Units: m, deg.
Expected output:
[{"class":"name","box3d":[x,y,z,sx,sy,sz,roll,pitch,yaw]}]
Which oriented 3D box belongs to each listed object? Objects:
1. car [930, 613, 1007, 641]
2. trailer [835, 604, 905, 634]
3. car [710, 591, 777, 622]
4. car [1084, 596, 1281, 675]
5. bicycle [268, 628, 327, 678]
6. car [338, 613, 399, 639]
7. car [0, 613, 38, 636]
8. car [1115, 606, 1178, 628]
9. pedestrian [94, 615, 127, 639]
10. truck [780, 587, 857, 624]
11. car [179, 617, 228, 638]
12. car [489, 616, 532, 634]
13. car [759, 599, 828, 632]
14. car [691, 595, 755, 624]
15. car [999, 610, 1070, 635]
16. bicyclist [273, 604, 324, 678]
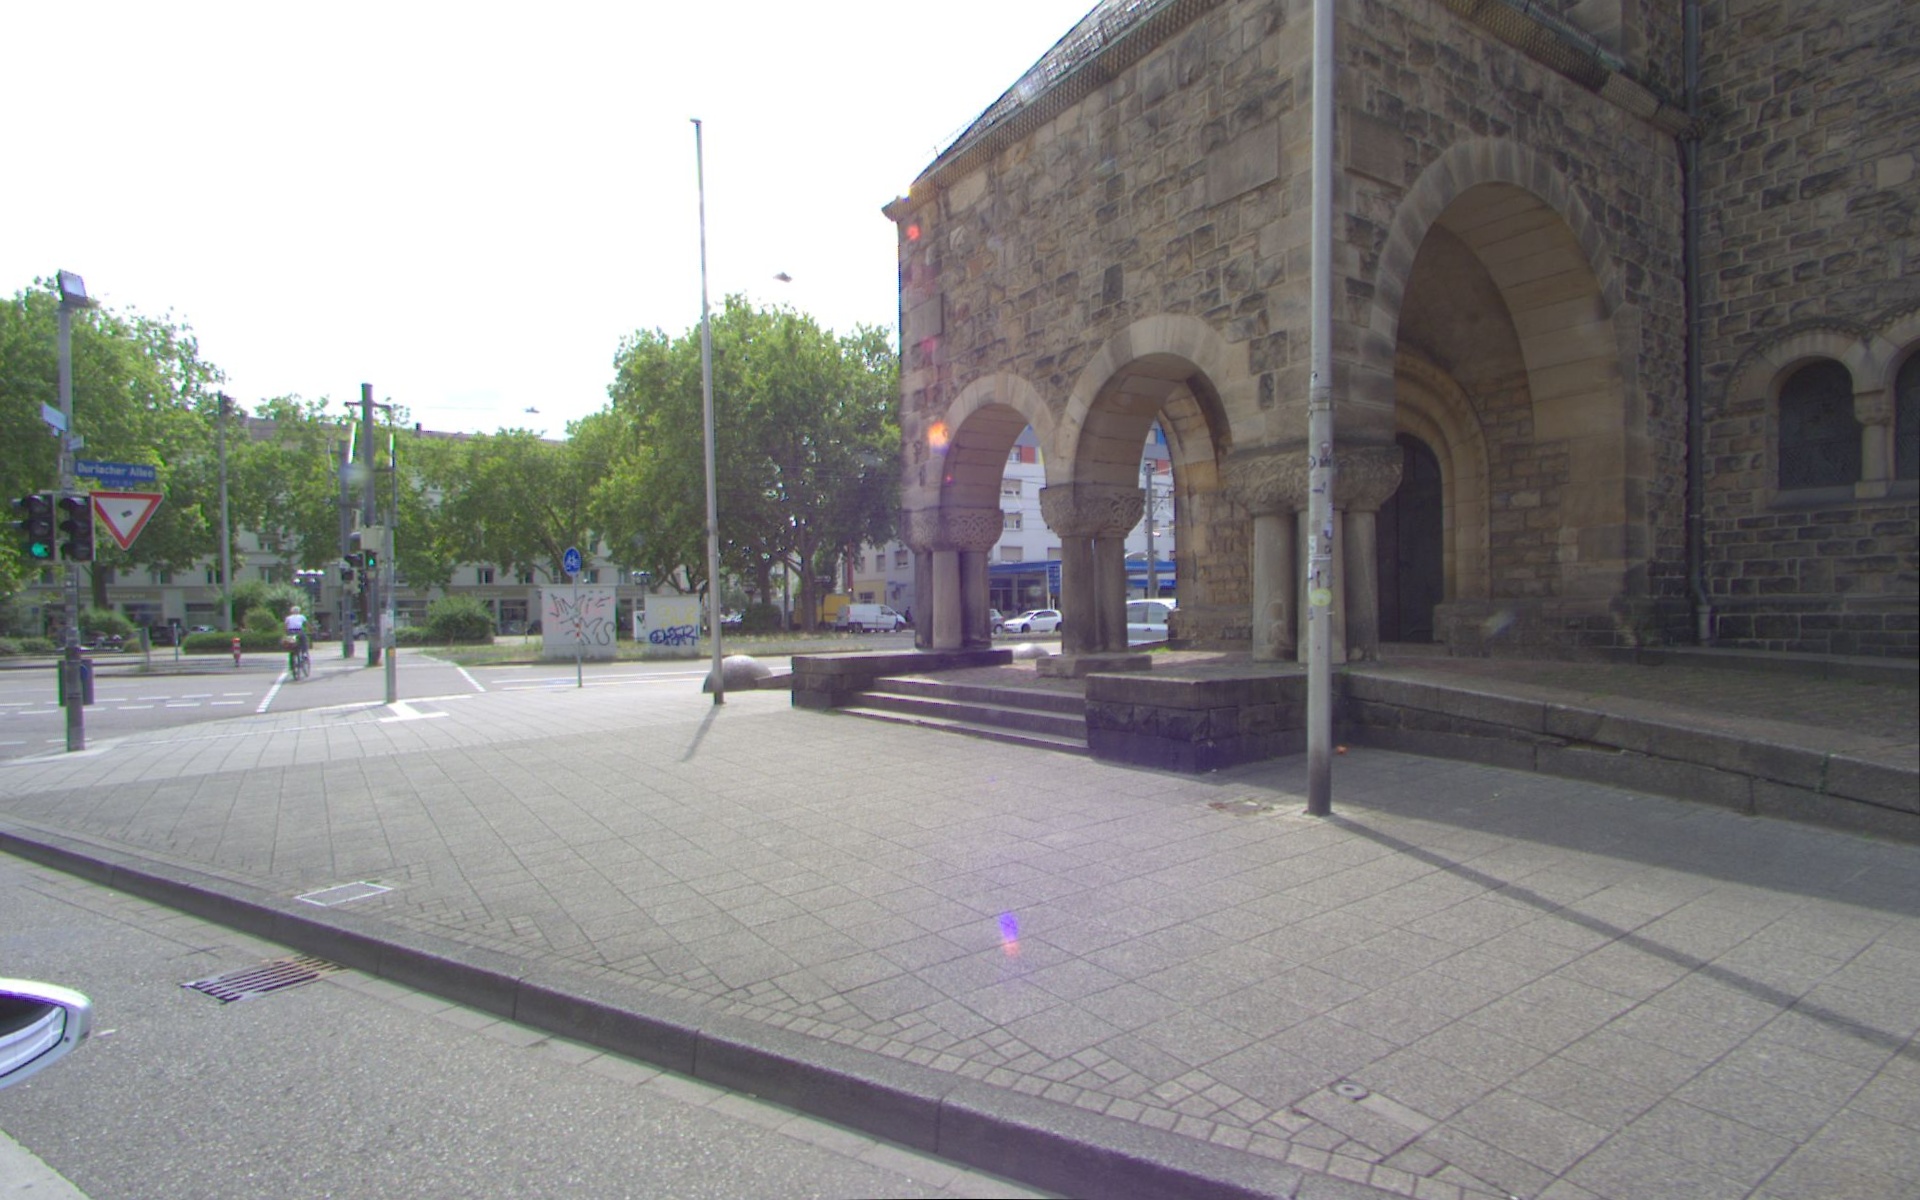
[{"class":"car","box3d":[0.483,1.468,54.885,3.942,1.418,1.617,0,-1,-30]},{"class":"trailer","box3d":[-6.073,1.230,67.505,4.377,1.951,1.843,0,0,-33]},{"class":"car","box3d":[-19.092,0.581,88.331,5.269,2.618,2.482,0,-1,-36]},{"class":"car","box3d":[4.799,0.730,22.089,1.992,1.563,4.002,0,0,-33]},{"class":"bicycle","box3d":[-15.749,1.230,23.856,0.891,1.089,1.962,0,0,-25]},{"class":"car","box3d":[-45.233,1.987,76.547,3.946,1.908,1.846,-1,0,-34]},{"class":"car","box3d":[-72.580,1.855,77.125,1.788,1.706,3.972,-1,0,-36]},{"class":"car","box3d":[14.148,1.282,75.801,4.554,1.535,1.985,0,-1,-31]},{"class":"pedestrian","box3d":[-47.927,1.533,56.499,1.422,1.252,1.087,-1,1,37]},{"class":"truck","box3d":[-10.459,0.418,73.507,3.040,2.612,6.468,-1,0,-34]},{"class":"car","box3d":[-56.853,2.040,75.250,3.949,1.523,1.986,-1,0,37]},{"class":"car","box3d":[-39.182,2.145,87.306,3.949,1.523,1.760,-1,0,37]},{"class":"car","box3d":[-13.811,1.288,83.243,5.269,2.618,2.165,0,-1,-36]},{"class":"car","box3d":[-21.889,0.870,92.598,5.269,2.618,2.482,0,-1,-36]},{"class":"car","box3d":[4.528,1.346,61.089,4.020,1.433,1.751,0,-1,-30]},{"class":"bicyclist","box3d":[-15.676,0.962,23.755,0.892,1.706,0.754,0,0,-26]}]
